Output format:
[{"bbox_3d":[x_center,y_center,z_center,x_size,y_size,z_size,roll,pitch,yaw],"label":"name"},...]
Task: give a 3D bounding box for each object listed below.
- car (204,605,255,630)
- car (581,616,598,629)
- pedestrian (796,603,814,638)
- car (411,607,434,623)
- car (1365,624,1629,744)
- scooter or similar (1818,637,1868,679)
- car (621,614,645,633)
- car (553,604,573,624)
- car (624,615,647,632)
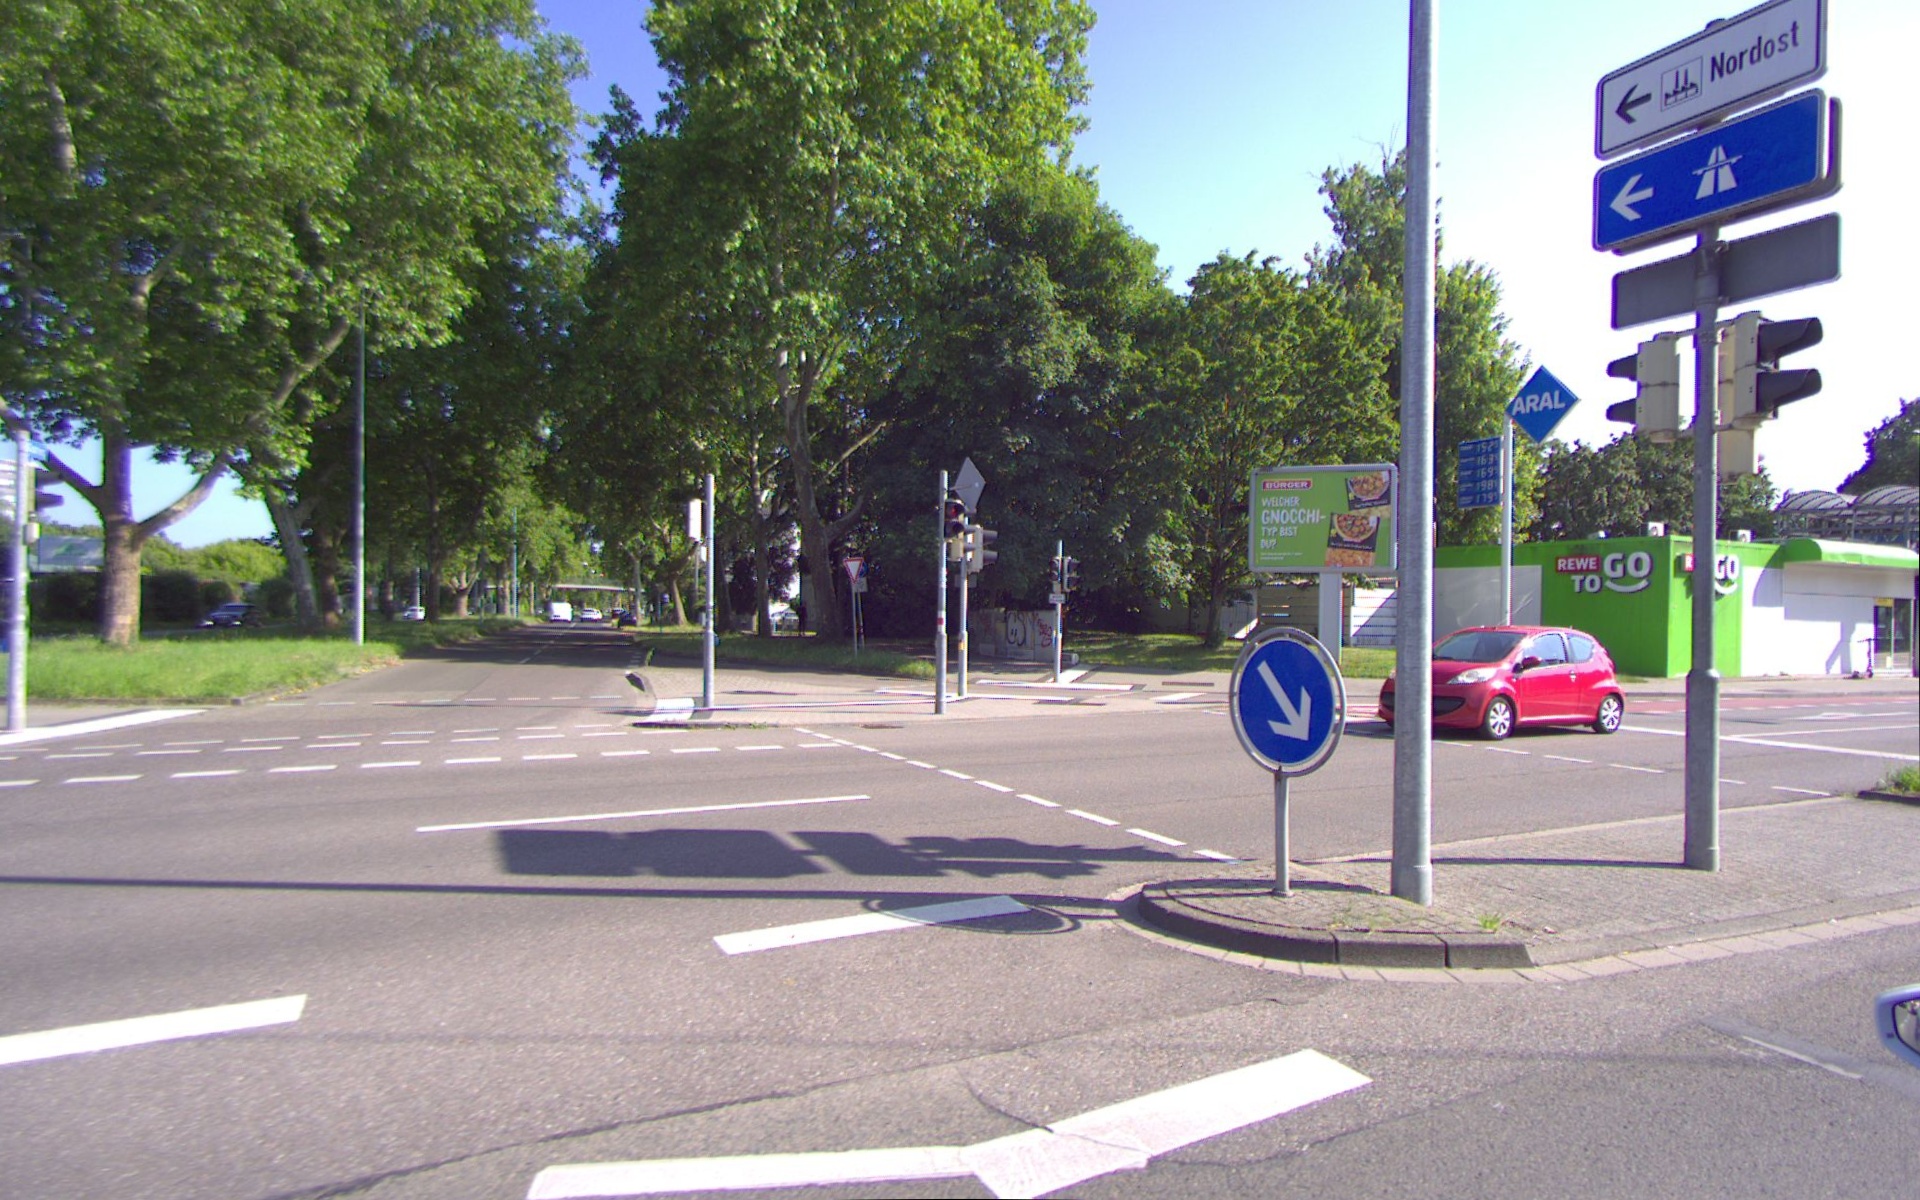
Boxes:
[{"bbox_3d":[-42.578,1.000,58.604,1.486,1.325,3.408,1,1,-21],"label":"car"},{"bbox_3d":[-42.032,2.496,114.025,1.796,1.425,3.523,1,-1,-21],"label":"car"},{"bbox_3d":[-8.146,1.070,52.926,0.862,1.793,0.685,1,-1,-15],"label":"pedestrian"},{"bbox_3d":[-52.375,1.458,97.854,1.486,1.325,3.408,1,1,-21],"label":"car"},{"bbox_3d":[7.272,1.059,13.593,3.290,1.435,1.568,1,-1,-27],"label":"car"},{"bbox_3d":[26.155,1.711,29.756,1.292,1.190,0.530,1,4,-25],"label":"scooter or similar"},{"bbox_3d":[-28.495,2.014,87.417,1.796,1.544,3.523,1,-1,-21],"label":"car"},{"bbox_3d":[-39.815,1.422,100.833,1.796,1.989,4.381,1,-1,-21],"label":"car"},{"bbox_3d":[-30.351,2.218,93.924,1.796,1.544,3.523,1,-1,-21],"label":"car"}]
